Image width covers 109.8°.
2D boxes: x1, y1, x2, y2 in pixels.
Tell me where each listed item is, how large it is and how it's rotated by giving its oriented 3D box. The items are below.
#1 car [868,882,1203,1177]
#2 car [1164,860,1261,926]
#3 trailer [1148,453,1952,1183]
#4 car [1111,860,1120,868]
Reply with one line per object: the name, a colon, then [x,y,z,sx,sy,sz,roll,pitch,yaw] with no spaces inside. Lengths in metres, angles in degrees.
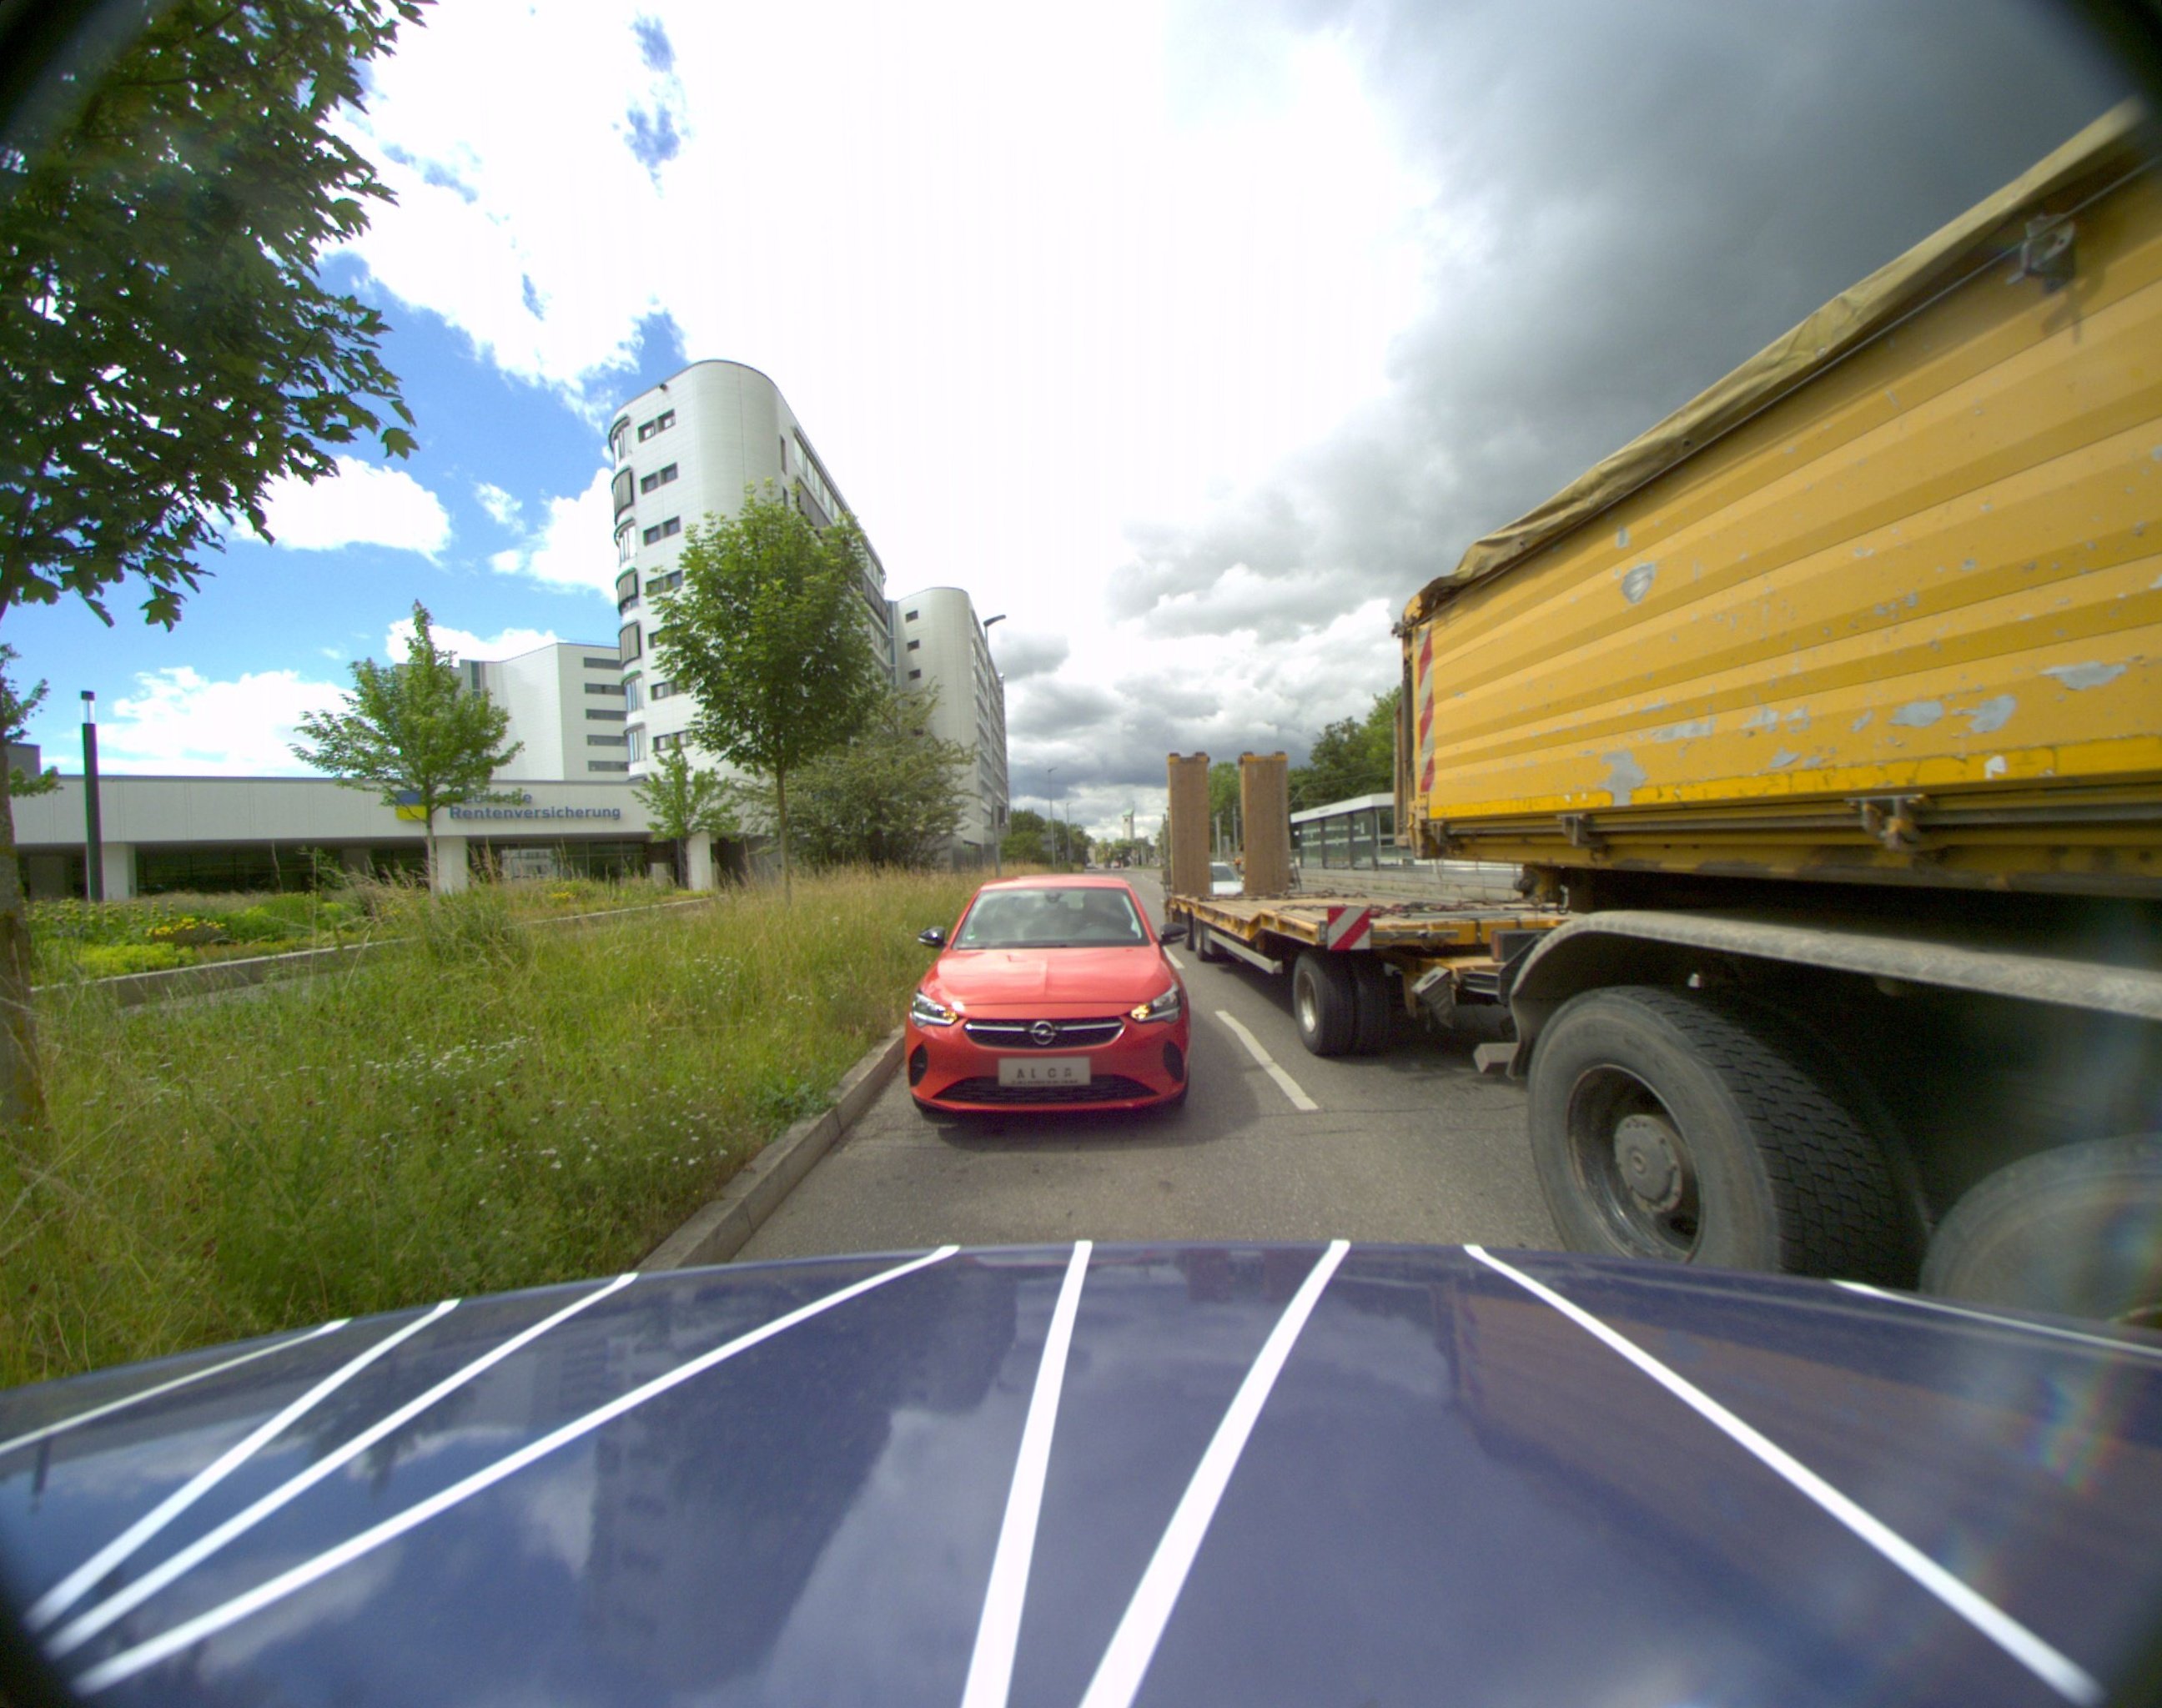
car: [-0.210,1.000,5.853,1.749,1.408,3.676,-1,0,1]
car: [3.163,0.886,19.020,1.784,1.408,3.785,-2,0,1]
trailer: [2.929,-0.162,9.423,3.057,3.676,10.965,-2,0,0]
car: [8.114,2.394,179.458,1.998,1.805,4.000,-2,0,1]
